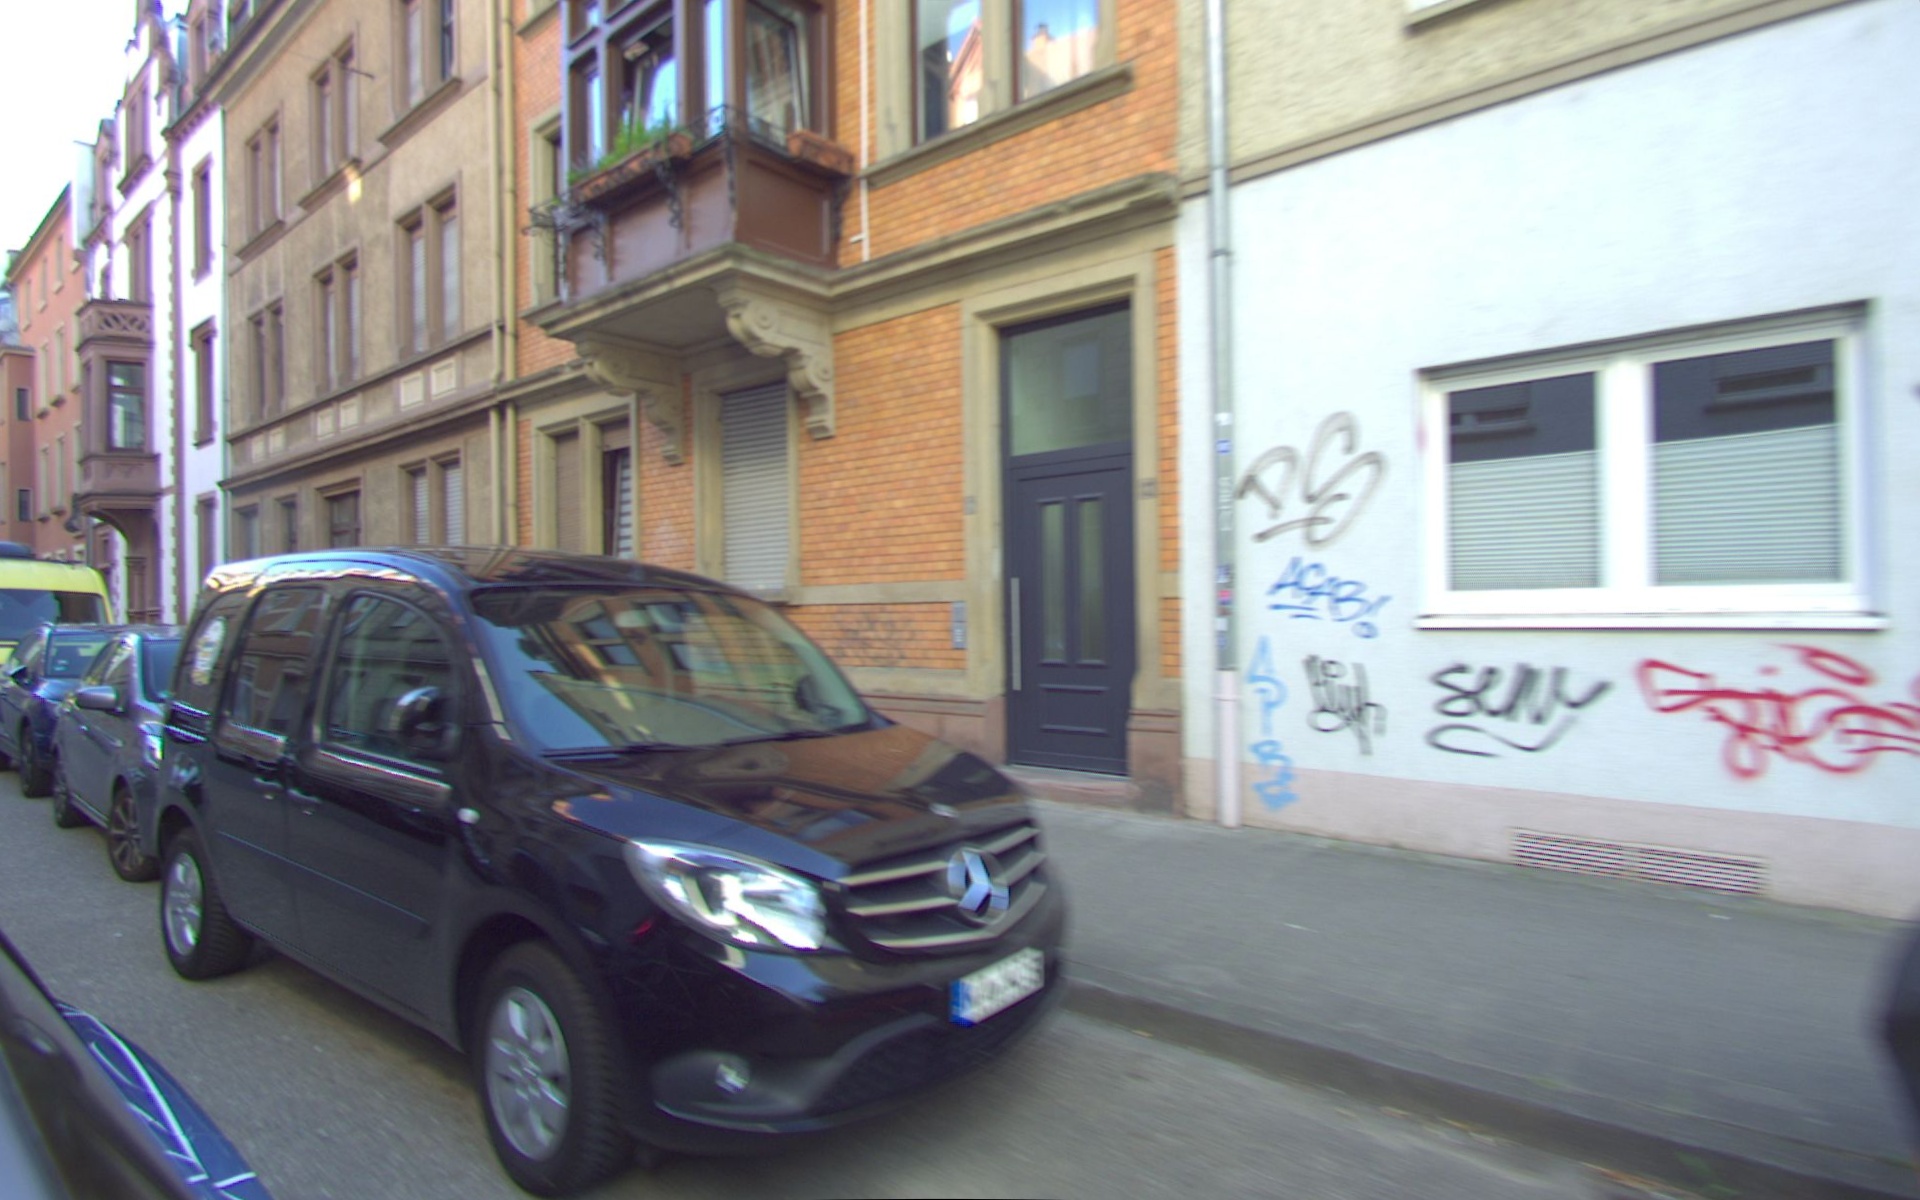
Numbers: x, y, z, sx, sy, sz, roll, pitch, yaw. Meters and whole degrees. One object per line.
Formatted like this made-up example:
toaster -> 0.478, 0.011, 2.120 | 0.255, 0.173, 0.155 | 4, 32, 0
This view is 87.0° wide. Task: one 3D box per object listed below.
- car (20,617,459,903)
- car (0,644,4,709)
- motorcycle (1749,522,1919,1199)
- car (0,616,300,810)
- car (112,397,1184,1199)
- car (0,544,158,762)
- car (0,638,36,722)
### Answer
car -> -5.201, 0.896, 7.138 | 3.642, 1.460, 1.660 | -2, 0, 40
car -> -21.408, 1.572, 21.140 | 3.609, 1.337, 1.602 | -2, -4, 39
motorcycle -> 2.022, 0.592, 1.029 | 0.894, 1.493, 2.510 | -1, -1, 13
car -> -8.533, 0.982, 10.284 | 3.996, 1.564, 1.974 | -2, -2, 40
car -> -1.533, 0.559, 3.924 | 4.328, 1.779, 1.802 | -2, -1, 37
car -> -13.150, 0.701, 13.872 | 5.873, 2.527, 2.153 | -2, -4, 40
car -> -18.118, 1.377, 18.300 | 3.897, 1.423, 1.699 | -2, -6, 43
